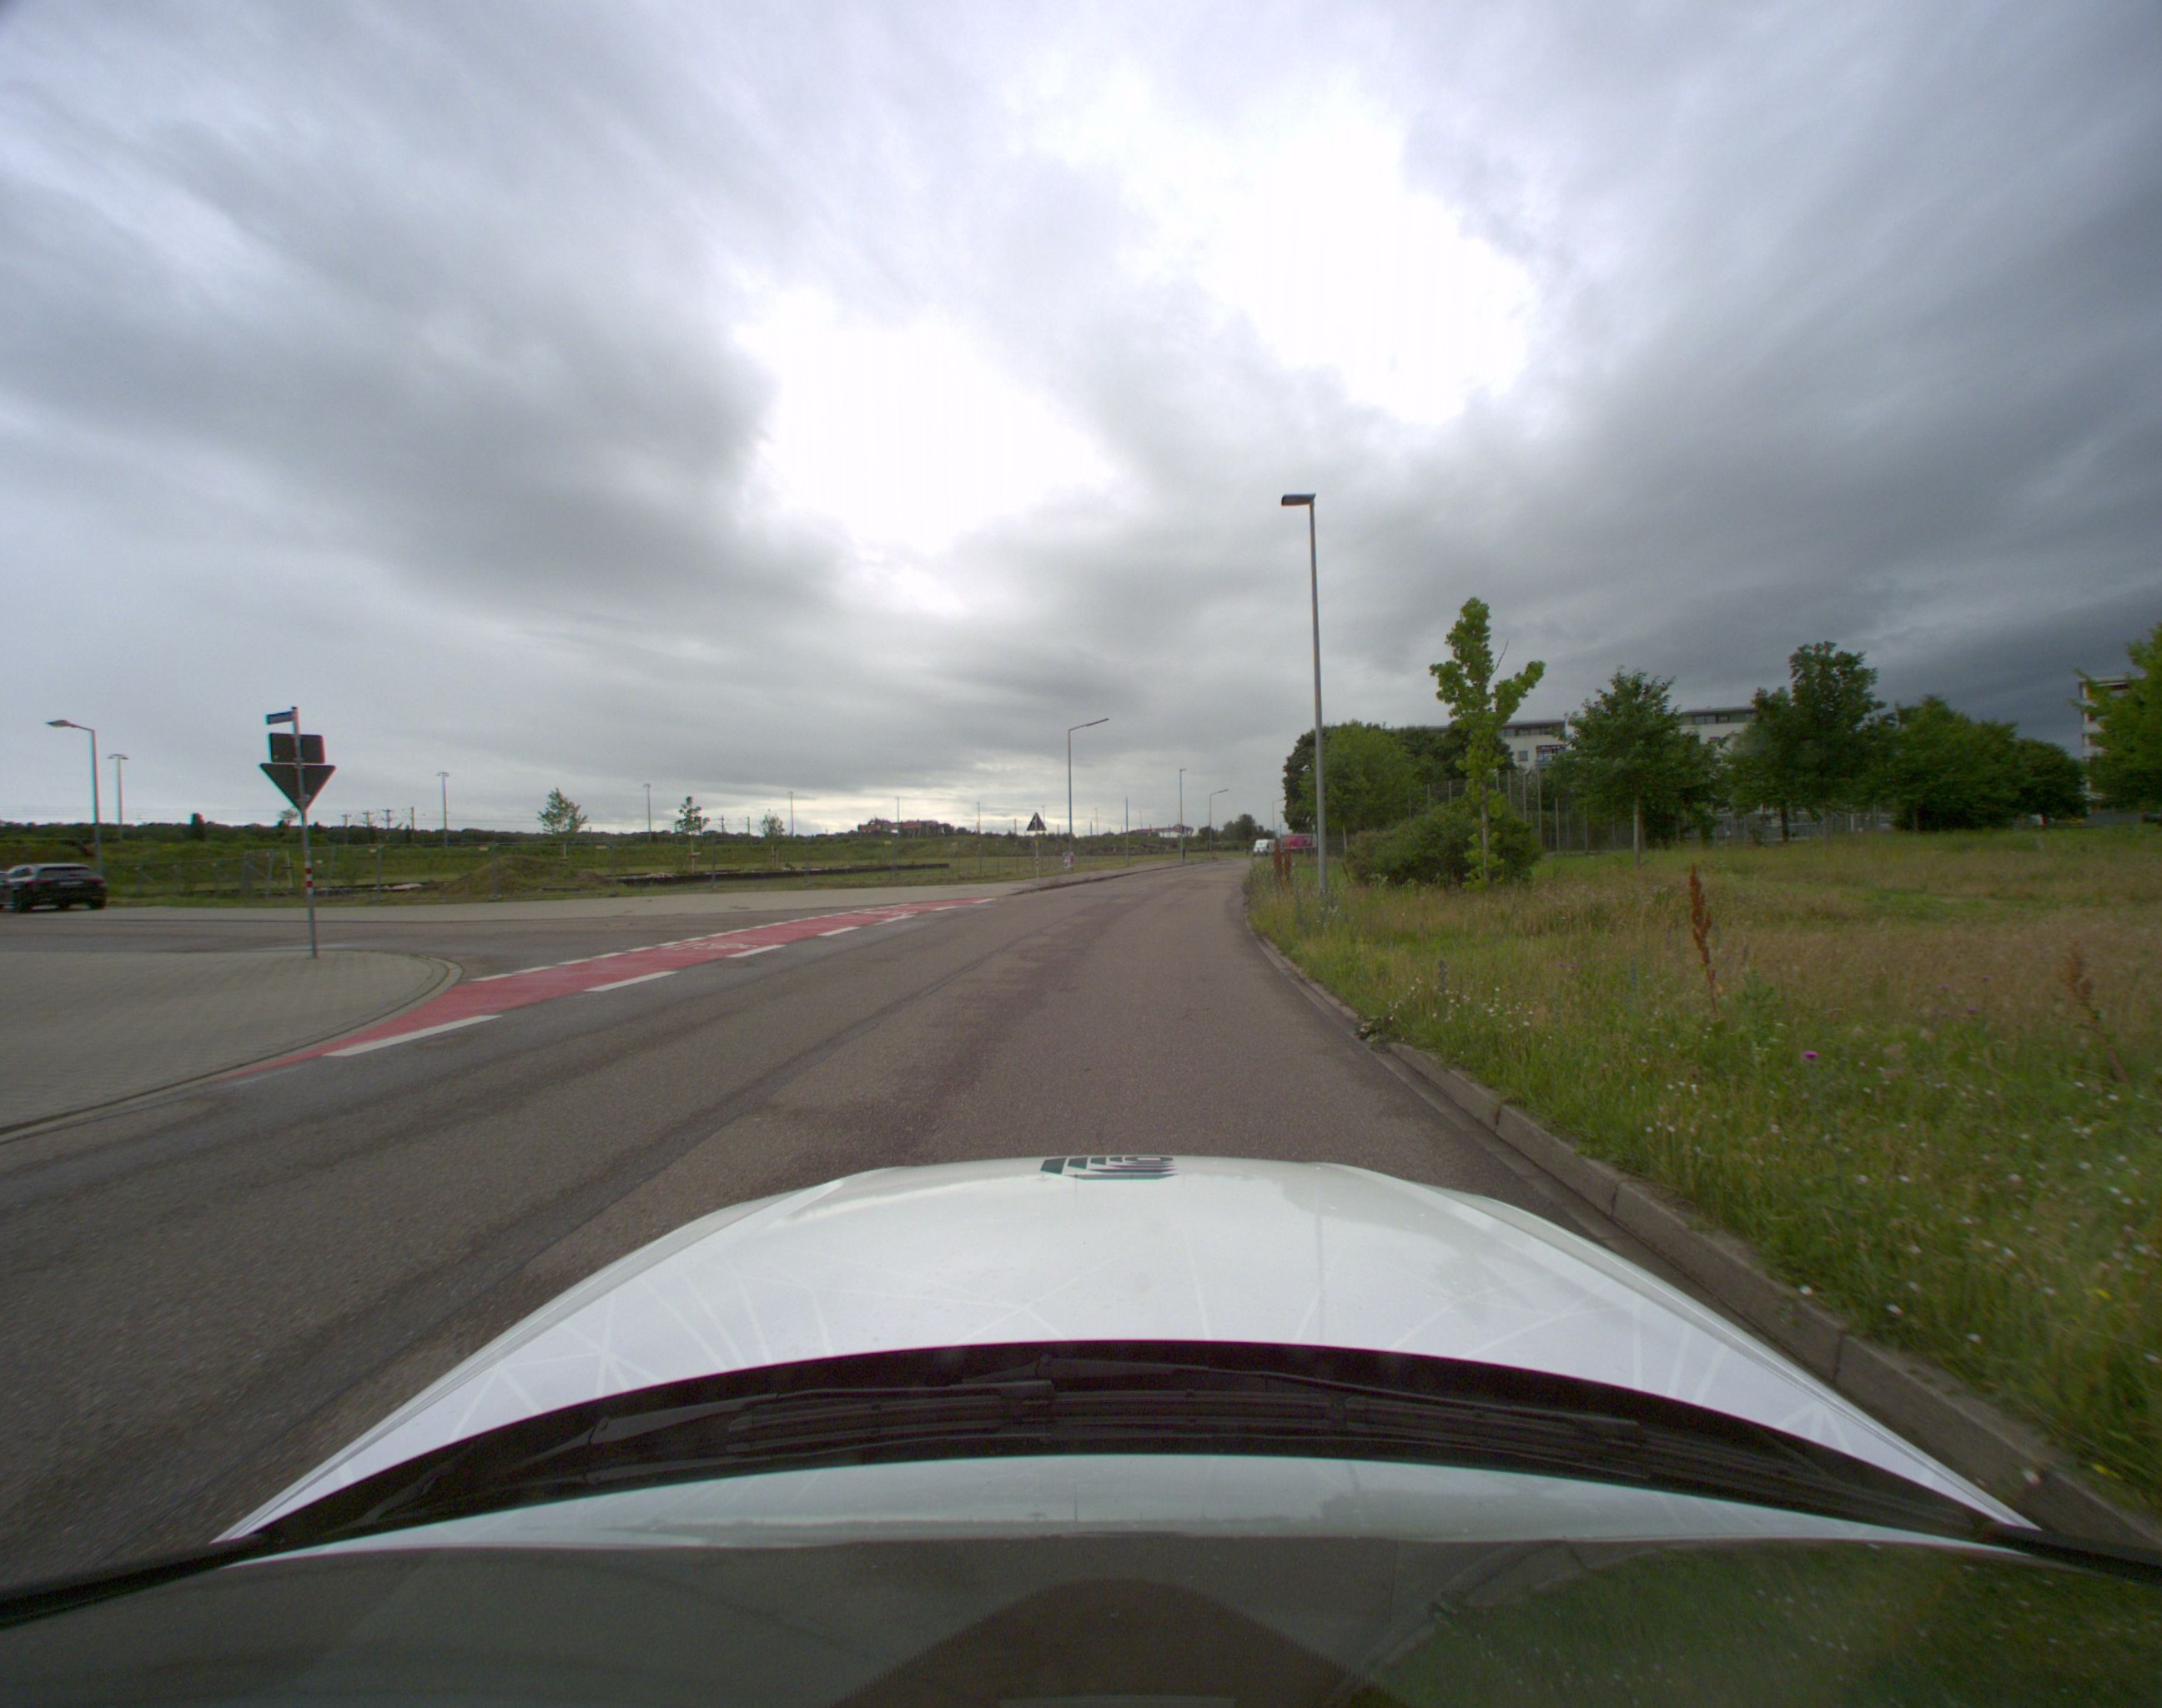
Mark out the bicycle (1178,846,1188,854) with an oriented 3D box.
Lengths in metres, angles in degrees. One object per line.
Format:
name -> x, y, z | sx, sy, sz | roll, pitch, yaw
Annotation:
bicycle -> 12.322, -0.500, 98.153 | 0.797, 0.907, 2.242 | -1, 1, 17

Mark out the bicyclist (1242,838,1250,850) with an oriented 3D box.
bicyclist -> 24.701, -1.502, 122.054 | 0.819, 1.821, 1.338 | -1, 1, 28

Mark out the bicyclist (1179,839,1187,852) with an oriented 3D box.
bicyclist -> 12.297, -1.076, 98.077 | 0.776, 1.526, 1.099 | -1, 1, 17

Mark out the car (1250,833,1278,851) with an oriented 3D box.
car -> 27.111, -1.837, 120.426 | 2.267, 2.555, 6.449 | -2, 1, 27

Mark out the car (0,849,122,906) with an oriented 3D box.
car -> -36.027, 0.807, 28.591 | 3.951, 1.822, 2.012 | -1, 1, 25

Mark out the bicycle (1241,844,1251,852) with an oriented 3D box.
bicycle -> 24.733, -0.884, 122.069 | 0.811, 1.204, 2.573 | -1, 1, 28

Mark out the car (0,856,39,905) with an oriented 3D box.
car -> -41.230, 1.018, 30.581 | 3.630, 1.752, 1.816 | -1, 1, 26
